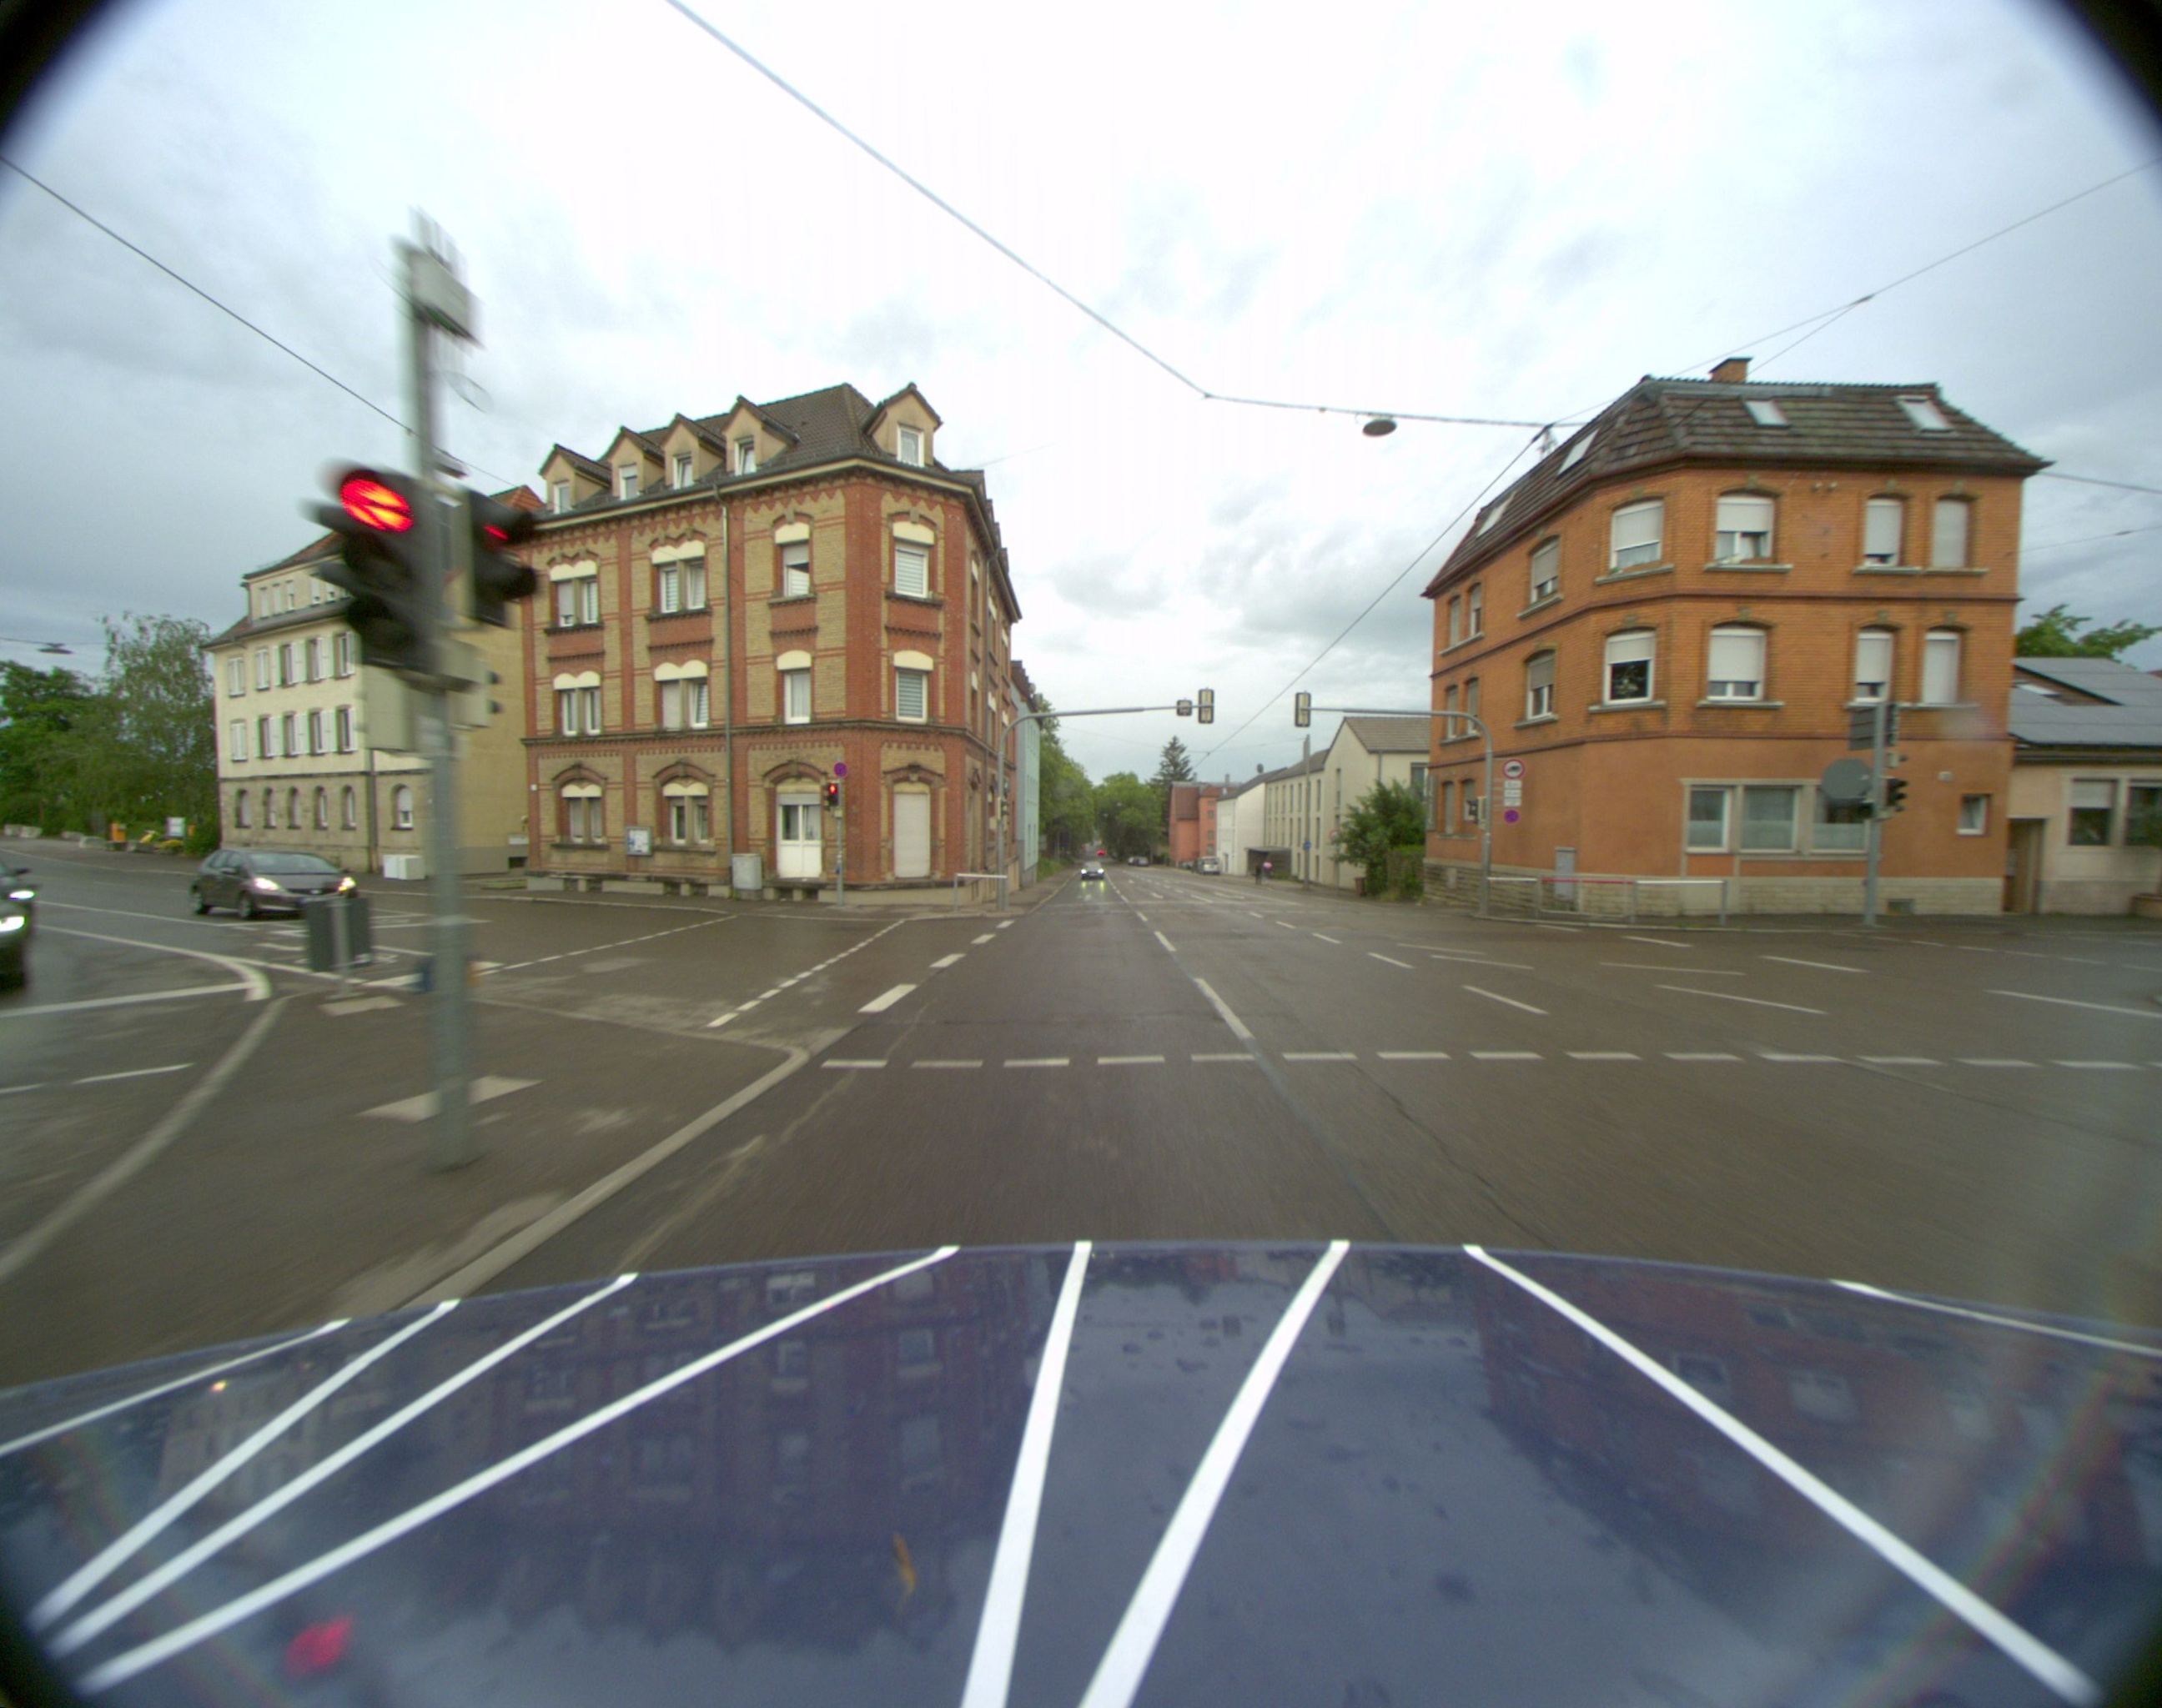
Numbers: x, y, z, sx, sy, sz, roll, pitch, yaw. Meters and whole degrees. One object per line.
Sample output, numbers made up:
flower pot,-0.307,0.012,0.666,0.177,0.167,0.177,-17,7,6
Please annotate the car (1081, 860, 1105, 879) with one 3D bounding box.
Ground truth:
car,0.987,1.240,61.424,1.842,1.403,4.000,0,0,1

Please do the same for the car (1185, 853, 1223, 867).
car,15.707,0.760,97.519,4.542,1.599,2.153,-2,0,3

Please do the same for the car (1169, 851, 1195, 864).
car,16.309,0.499,123.043,3.997,2.002,2.000,-1,1,-1

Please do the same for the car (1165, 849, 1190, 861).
car,16.094,0.166,126.857,3.994,2.002,2.001,-1,1,8

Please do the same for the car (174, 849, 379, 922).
car,-17.990,0.651,17.002,3.990,1.445,1.847,1,-1,23

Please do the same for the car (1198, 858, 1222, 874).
car,13.158,1.219,77.635,1.749,1.499,4.178,0,0,1

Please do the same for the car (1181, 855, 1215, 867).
car,15.370,0.899,100.028,4.171,1.425,2.000,-2,0,3

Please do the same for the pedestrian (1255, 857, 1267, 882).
pedestrian,12.137,1.037,51.265,0.641,1.696,0.911,-1,0,2

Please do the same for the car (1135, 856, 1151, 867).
car,8.979,1.095,109.556,1.789,1.402,4.198,2,0,-2

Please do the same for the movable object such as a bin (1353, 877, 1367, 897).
movable object such as a bin,13.229,1.556,36.008,0.410,0.919,0.525,-1,1,-6

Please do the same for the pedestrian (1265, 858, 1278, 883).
pedestrian,12.838,1.094,51.270,0.641,1.696,0.911,-1,0,2

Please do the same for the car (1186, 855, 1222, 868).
car,15.365,0.930,94.955,4.135,1.455,1.896,-2,0,2

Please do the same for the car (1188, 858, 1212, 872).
car,13.259,1.202,84.828,1.750,1.543,4.082,-2,0,-3

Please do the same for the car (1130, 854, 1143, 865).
car,8.803,0.890,120.868,1.816,1.537,4.198,3,0,1

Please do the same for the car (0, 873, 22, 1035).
car,-13.955,1.127,8.883,4.242,1.653,1.808,1,1,36
